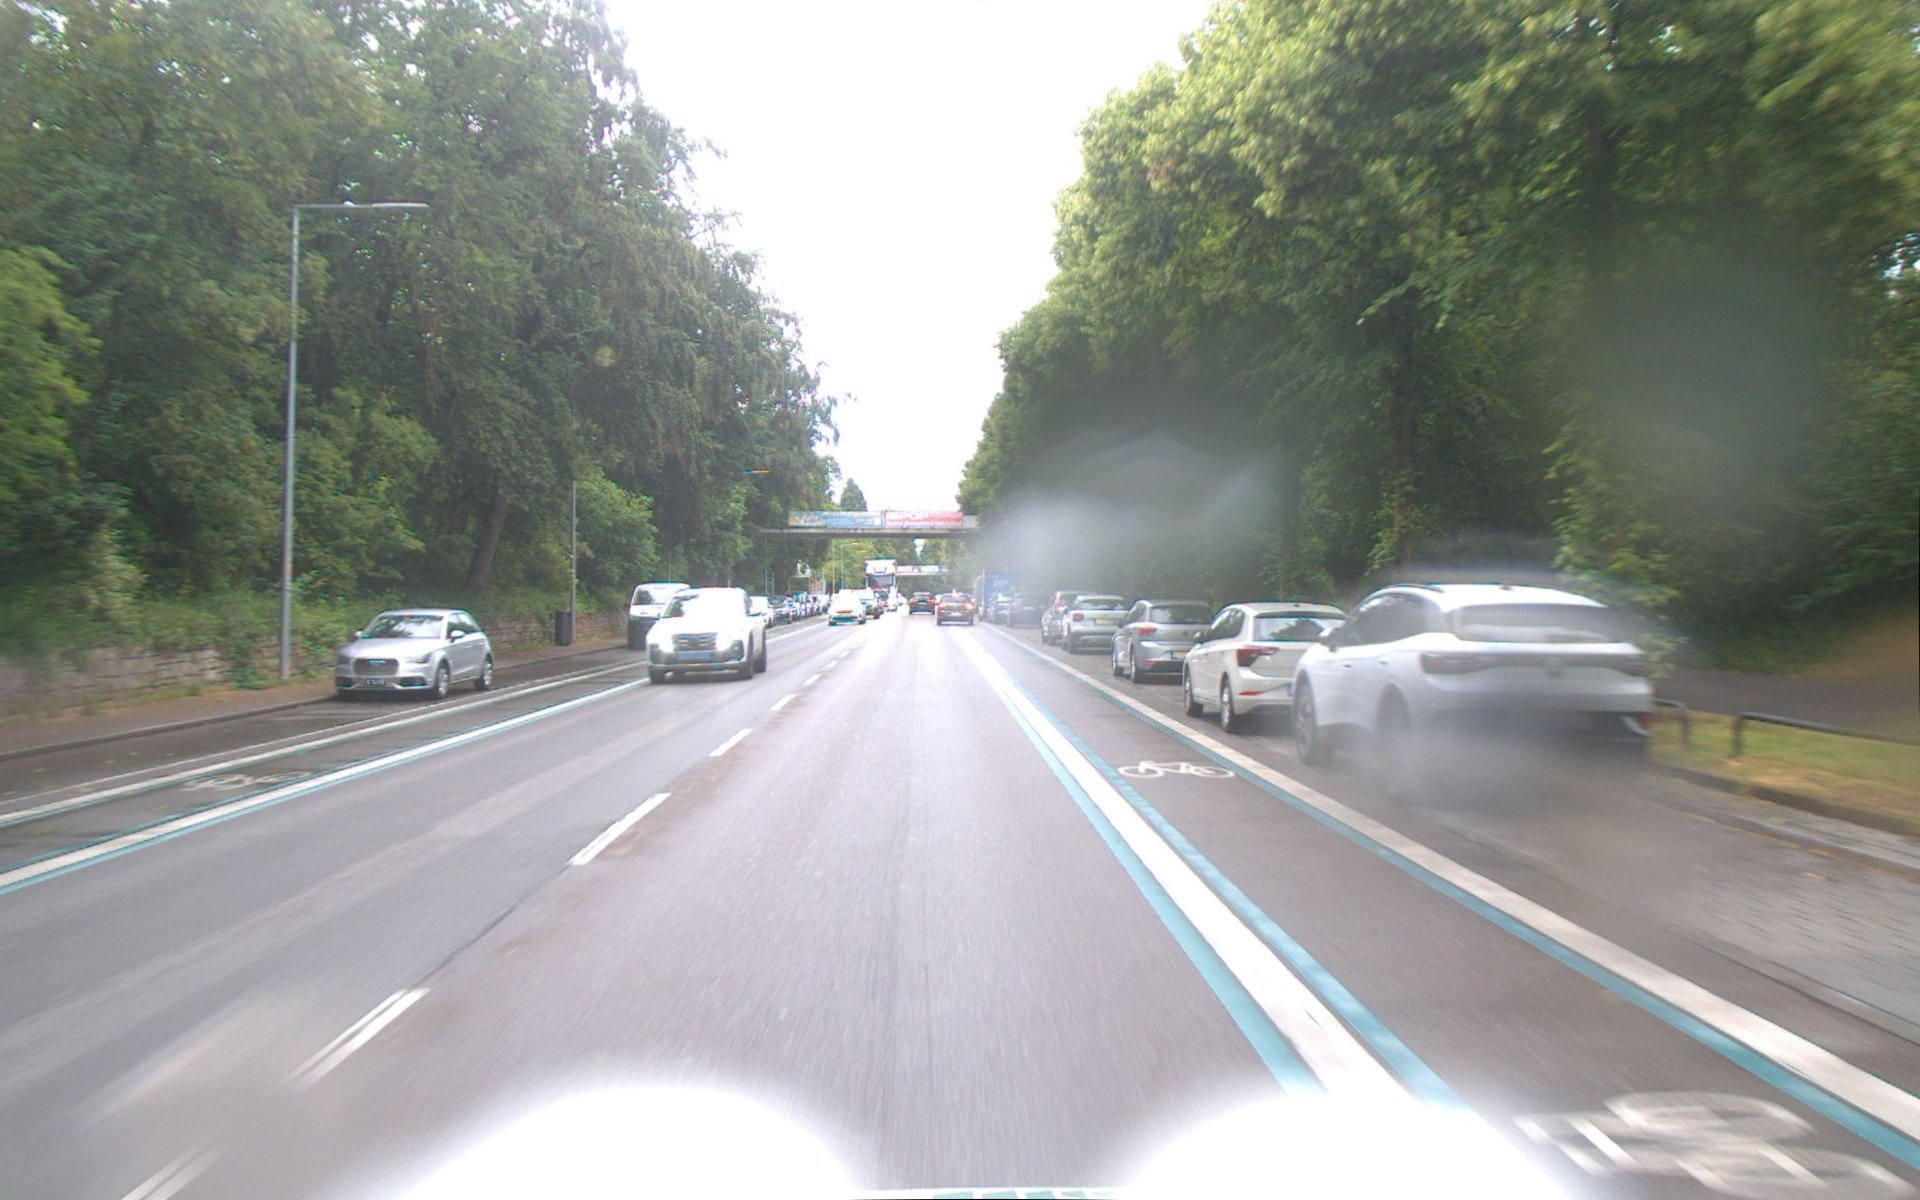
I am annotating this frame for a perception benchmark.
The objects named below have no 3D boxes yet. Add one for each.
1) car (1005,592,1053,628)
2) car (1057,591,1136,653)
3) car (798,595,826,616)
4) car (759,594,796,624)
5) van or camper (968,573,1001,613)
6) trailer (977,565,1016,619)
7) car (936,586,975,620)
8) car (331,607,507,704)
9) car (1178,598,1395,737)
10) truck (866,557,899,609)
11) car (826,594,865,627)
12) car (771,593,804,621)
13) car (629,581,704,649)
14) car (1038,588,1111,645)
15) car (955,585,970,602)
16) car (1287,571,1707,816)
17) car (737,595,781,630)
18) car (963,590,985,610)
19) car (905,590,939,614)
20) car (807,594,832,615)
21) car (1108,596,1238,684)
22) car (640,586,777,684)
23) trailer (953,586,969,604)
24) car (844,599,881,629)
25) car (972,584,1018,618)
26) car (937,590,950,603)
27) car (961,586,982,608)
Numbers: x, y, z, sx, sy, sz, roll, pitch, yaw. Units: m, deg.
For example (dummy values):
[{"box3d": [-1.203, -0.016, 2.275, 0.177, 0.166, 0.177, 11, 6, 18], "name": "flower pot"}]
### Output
[{"box3d": [3.017, 0.423, 73.159, 1.789, 1.529, 4.569, -1, 0, -2], "name": "car"}, {"box3d": [3.575, 0.547, 44.050, 1.663, 1.540, 4.468, 1, 0, -1], "name": "car"}, {"box3d": [-10.841, 0.389, 121.305, 1.748, 1.448, 4.294, -1, 1, -2], "name": "car"}, {"box3d": [-9.753, 0.469, 88.725, 1.795, 1.502, 4.037, -1, 1, -4], "name": "car"}, {"box3d": [1.710, -0.519, 118.843, 2.001, 2.777, 6.897, 1, 0, -2], "name": "van or camper"}, {"box3d": [1.911, -0.407, 87.853, 1.913, 2.807, 4.006, 0, 0, -1], "name": "trailer"}, {"box3d": [-0.218, 0.135, 77.835, 1.781, 1.534, 4.138, 0, 0, 0], "name": "car"}, {"box3d": [-8.987, 0.872, 27.806, 1.656, 1.429, 4.027, 0, 1, 0], "name": "car"}, {"box3d": [3.813, 0.729, 19.950, 1.664, 1.479, 3.944, 1, 0, -3], "name": "car"}, {"box3d": [-6.315, -1.396, 135.731, 2.467, 4.117, 4.914, -3, 0, -2], "name": "truck"}, {"box3d": [-5.554, 0.486, 80.549, 1.740, 1.491, 4.061, -3, 0, -2], "name": "car"}, {"box3d": [-10.362, 0.388, 99.598, 1.654, 1.573, 4.231, -1, 1, -2], "name": "car"}, {"box3d": [-9.274, 0.431, 52.578, 1.935, 2.040, 5.013, 0, 1, -6], "name": "car"}, {"box3d": [3.407, 0.454, 49.911, 1.718, 1.624, 4.738, 0, 0, -2], "name": "car"}, {"box3d": [0.296, -0.852, 218.546, 1.850, 2.164, 4.044, -1, 0, 0], "name": "car"}, {"box3d": [4.181, 0.633, 13.761, 1.953, 1.691, 4.561, 0, 0, -1], "name": "car"}, {"box3d": [-9.477, 0.579, 78.280, 1.753, 1.508, 3.980, -1, 1, -3], "name": "car"}, {"box3d": [1.210, -0.001, 139.963, 1.720, 1.617, 4.497, 1, 0, -1], "name": "car"}, {"box3d": [-2.558, 0.132, 111.152, 2.097, 1.518, 4.495, 1, 0, -3], "name": "car"}, {"box3d": [-10.919, 0.341, 128.832, 1.917, 1.488, 4.752, 0, 1, -4], "name": "car"}, {"box3d": [3.816, 0.680, 30.302, 1.664, 1.479, 4.095, 1, 0, -3], "name": "car"}, {"box3d": [-4.635, 0.592, 31.123, 1.914, 1.667, 4.444, -1, 1, -1], "name": "car"}, {"box3d": [0.159, -0.583, 201.695, 1.845, 2.204, 3.807, -1, 0, -1], "name": "trailer"}, {"box3d": [-5.685, 0.799, 96.771, 1.921, 1.645, 4.464, -1, 0, -1], "name": "car"}, {"box3d": [1.711, 0.035, 82.038, 1.862, 1.574, 4.752, 1, 0, -4], "name": "car"}, {"box3d": [-2.198, -0.465, 218.985, 1.696, 1.611, 4.035, -1, 0, -2], "name": "car"}, {"box3d": [1.077, -0.258, 158.362, 1.887, 2.057, 4.662, 1, 0, -1], "name": "car"}]
